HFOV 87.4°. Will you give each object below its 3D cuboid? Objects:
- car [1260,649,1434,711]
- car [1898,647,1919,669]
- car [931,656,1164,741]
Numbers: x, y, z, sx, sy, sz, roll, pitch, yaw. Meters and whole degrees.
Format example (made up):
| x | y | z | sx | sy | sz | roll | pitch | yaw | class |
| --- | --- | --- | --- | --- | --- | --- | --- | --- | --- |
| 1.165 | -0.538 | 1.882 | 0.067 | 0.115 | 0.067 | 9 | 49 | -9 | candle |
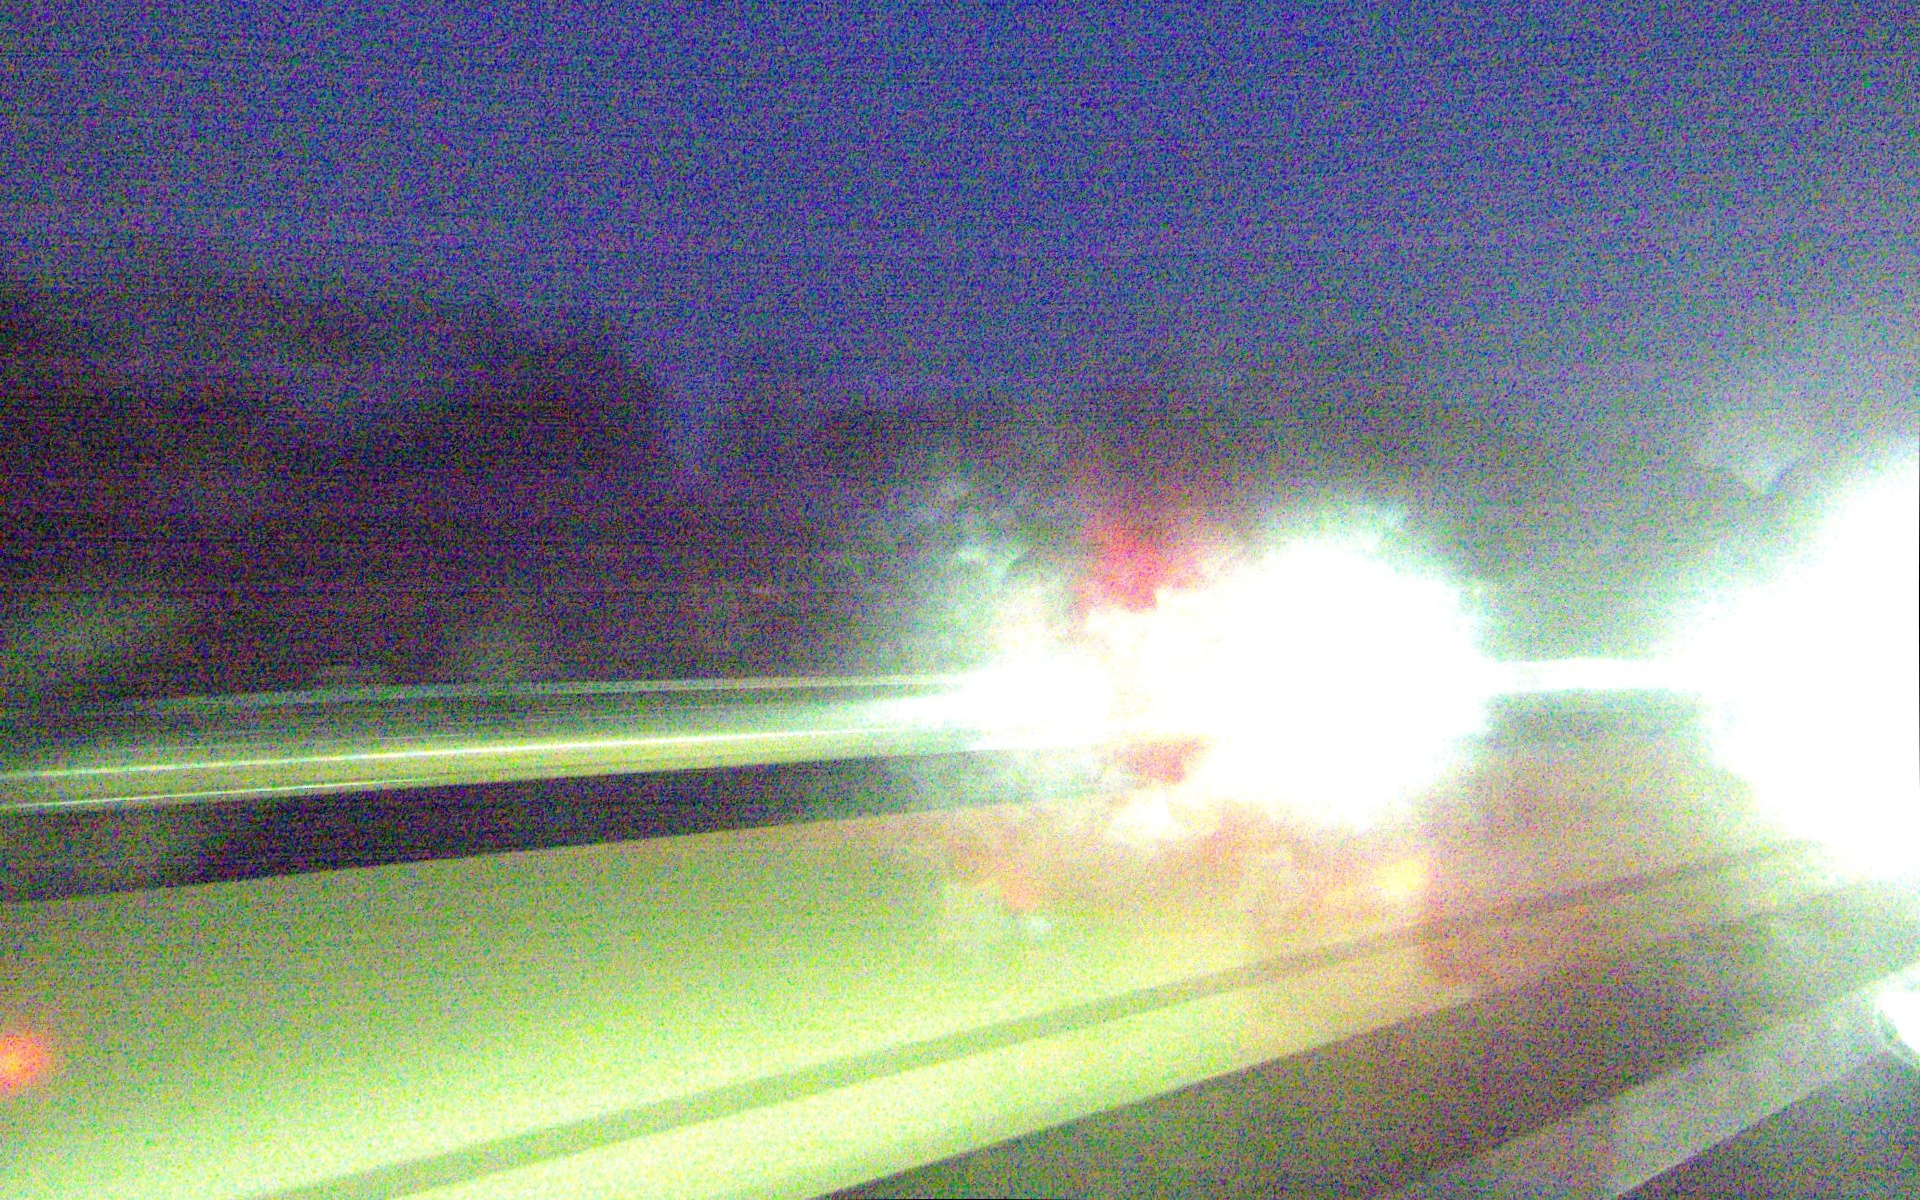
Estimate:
| x | y | z | sx | sy | sz | roll | pitch | yaw | class |
| --- | --- | --- | --- | --- | --- | --- | --- | --- | --- |
| 11.564 | 2.332 | 29.913 | 5.306 | 1.604 | 1.885 | 2 | 0 | -29 | car |
| 53.471 | 3.208 | 55.326 | 4.001 | 1.117 | 1.629 | 2 | 0 | -32 | car |
| 1.729 | 1.814 | 19.360 | 4.305 | 1.440 | 1.773 | 2 | -3 | -32 | car |
